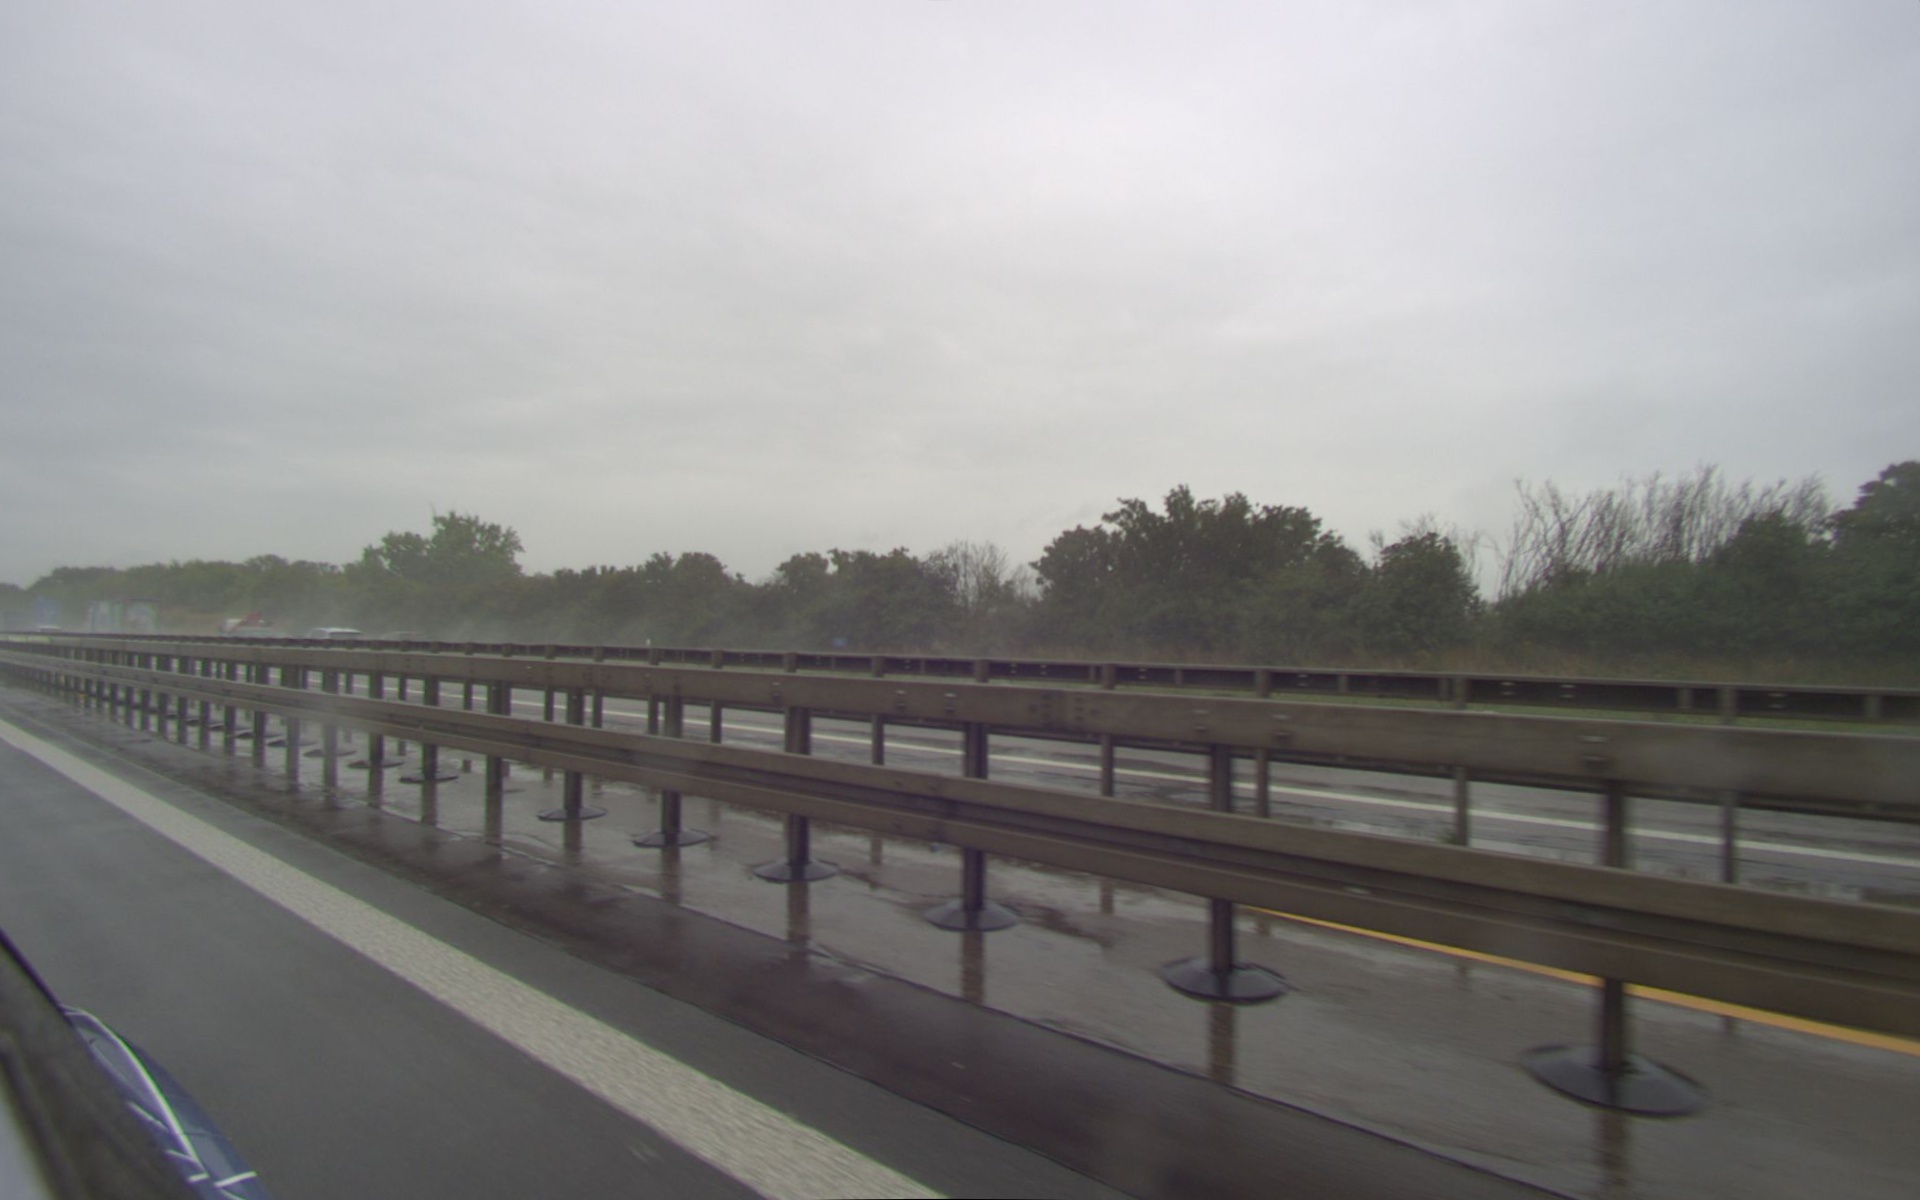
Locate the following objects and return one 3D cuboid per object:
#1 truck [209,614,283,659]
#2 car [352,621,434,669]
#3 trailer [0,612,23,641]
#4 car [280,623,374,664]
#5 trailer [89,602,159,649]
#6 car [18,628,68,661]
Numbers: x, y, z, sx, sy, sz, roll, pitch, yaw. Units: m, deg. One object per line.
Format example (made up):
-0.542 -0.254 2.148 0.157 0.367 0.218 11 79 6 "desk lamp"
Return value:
-44.845 2.278 63.509 6.259 2.639 2.303 -1 0 41 "truck"
-26.738 2.075 47.707 4.383 2.120 1.973 -1 0 41 "car"
-134.438 3.711 142.495 13.605 3.833 2.271 -1 -1 41 "trailer"
-26.168 1.753 41.774 4.651 1.542 1.973 -1 0 41 "car"
-73.203 2.196 88.419 13.578 3.833 2.606 -1 -1 41 "trailer"
-63.495 3.043 70.044 4.763 2.120 1.973 -1 0 41 "car"
